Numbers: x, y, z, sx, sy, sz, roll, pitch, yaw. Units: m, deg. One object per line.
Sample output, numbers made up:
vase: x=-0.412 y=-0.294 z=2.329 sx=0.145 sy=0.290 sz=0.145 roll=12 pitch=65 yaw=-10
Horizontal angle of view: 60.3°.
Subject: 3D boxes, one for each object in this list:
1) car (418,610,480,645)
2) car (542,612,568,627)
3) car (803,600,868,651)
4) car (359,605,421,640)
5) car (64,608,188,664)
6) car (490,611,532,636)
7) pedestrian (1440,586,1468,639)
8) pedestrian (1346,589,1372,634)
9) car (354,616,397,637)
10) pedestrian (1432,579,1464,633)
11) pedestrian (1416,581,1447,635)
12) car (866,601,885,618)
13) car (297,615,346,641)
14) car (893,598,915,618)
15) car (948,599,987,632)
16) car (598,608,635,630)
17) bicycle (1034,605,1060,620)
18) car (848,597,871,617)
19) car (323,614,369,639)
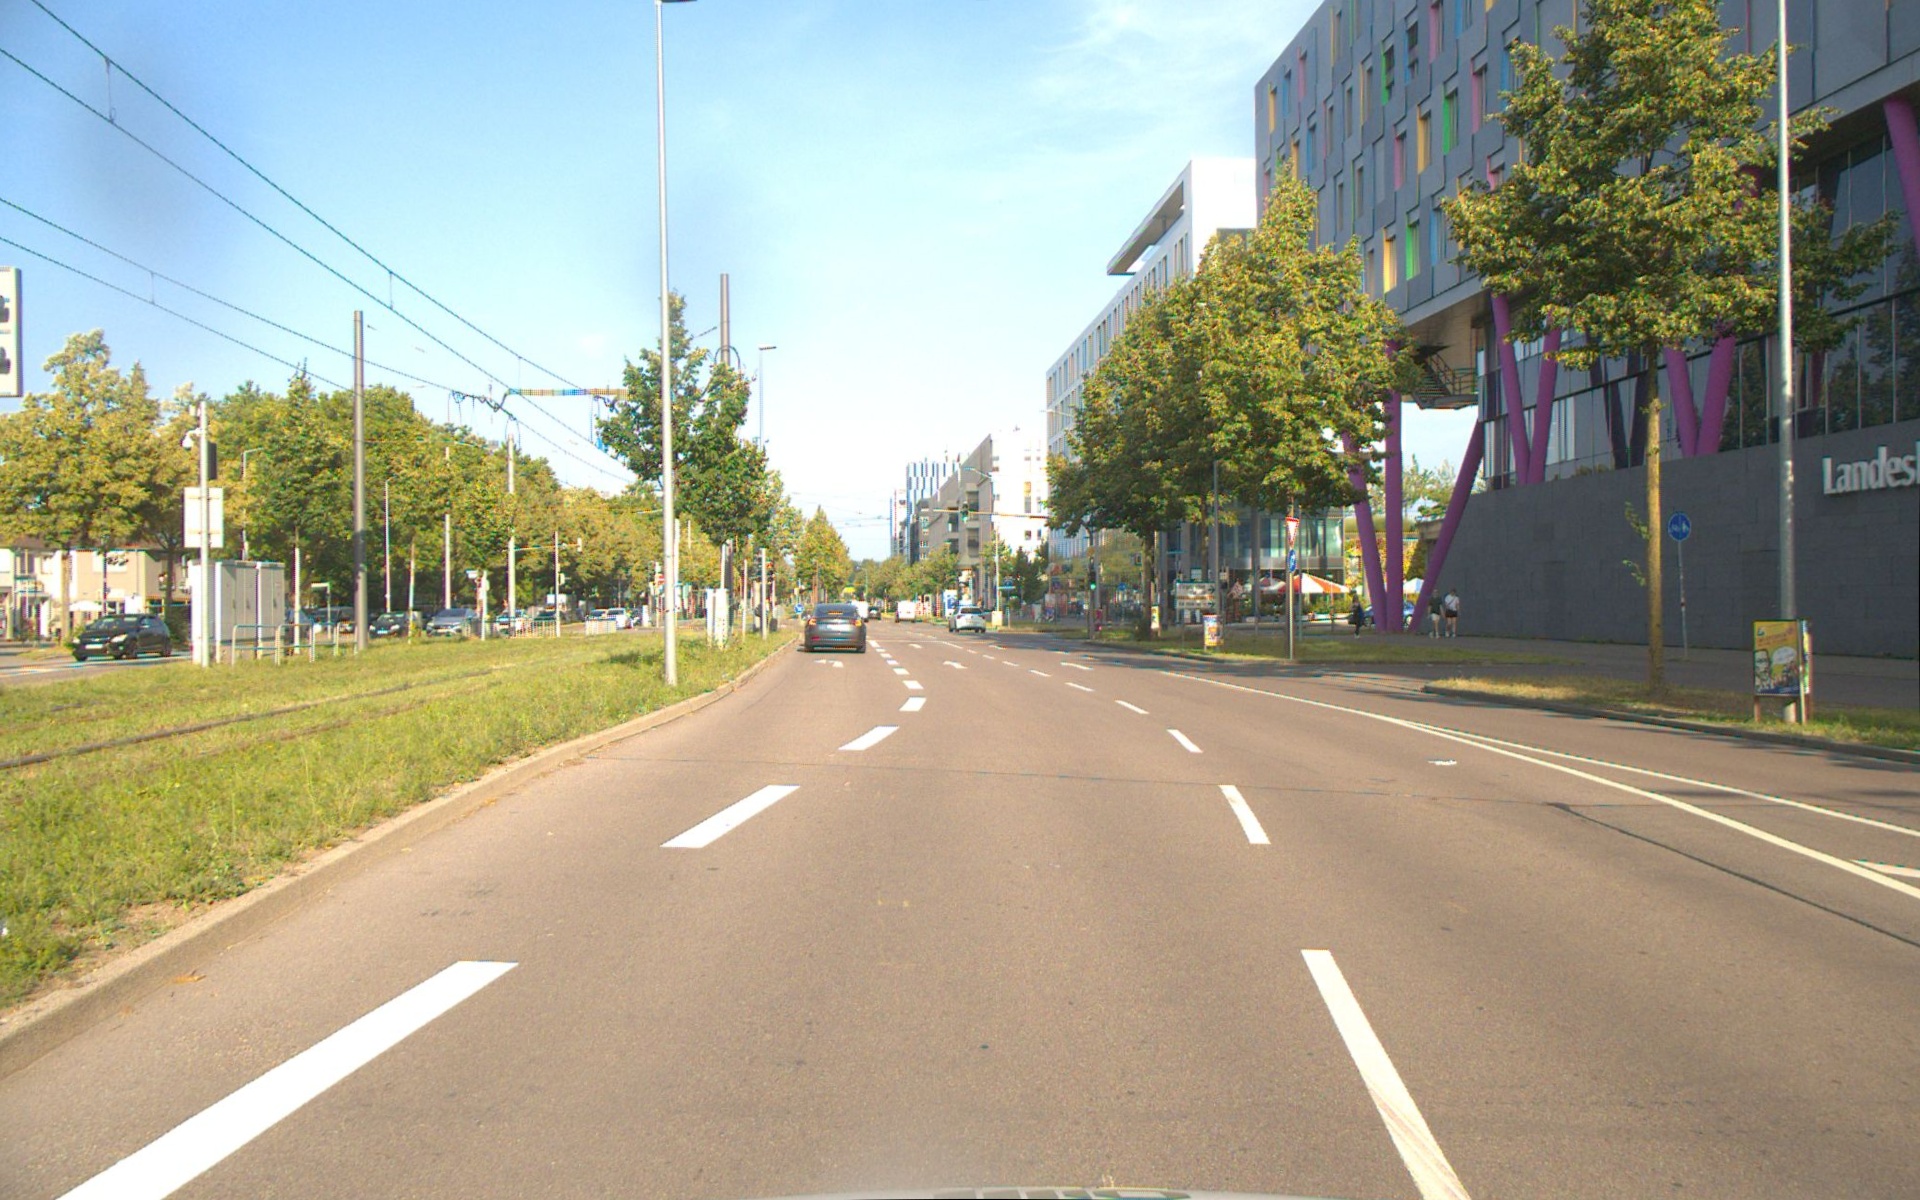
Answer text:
car: x=-25.947 y=1.355 z=84.138 sx=1.955 sy=1.554 sz=4.907 roll=-4 pitch=1 yaw=-5
car: x=-44.864 y=2.146 z=183.303 sx=1.842 sy=1.587 sz=4.000 roll=-1 pitch=-1 yaw=1
car: x=-3.763 y=0.742 z=49.871 sx=1.853 sy=1.410 sz=4.330 roll=1 pitch=0 yaw=-5
car: x=-29.466 y=1.156 z=85.662 sx=1.954 sy=1.717 sz=4.612 roll=-1 pitch=0 yaw=-5
car: x=-27.002 y=1.128 z=53.739 sx=1.954 sy=1.717 sz=4.721 roll=-1 pitch=0 yaw=-5
car: x=-30.065 y=1.570 z=110.917 sx=1.868 sy=1.554 sz=4.438 roll=-1 pitch=0 yaw=-4
pedestrian: x=17.411 y=0.427 z=58.266 sx=0.643 sy=1.825 sz=0.785 roll=-2 pitch=0 yaw=-5
pedestrian: x=15.162 y=0.453 z=62.832 sx=0.680 sy=1.667 sz=0.736 roll=-2 pitch=0 yaw=-5
car: x=-45.262 y=2.052 z=128.171 sx=1.842 sy=1.587 sz=4.000 roll=-1 pitch=-1 yaw=1
pedestrian: x=17.224 y=0.219 z=58.331 sx=0.753 sy=1.857 sz=0.852 roll=-2 pitch=0 yaw=-5
pedestrian: x=16.599 y=0.278 z=58.220 sx=0.739 sy=1.825 sz=0.843 roll=-3 pitch=0 yaw=-5
car: x=-8.820 y=0.971 z=171.525 sx=1.886 sy=1.713 sz=3.997 roll=1 pitch=0 yaw=-4
car: x=-45.296 y=1.947 z=117.331 sx=1.842 sy=1.780 sz=4.000 roll=-1 pitch=-1 yaw=1
car: x=-5.050 y=0.706 z=149.502 sx=1.827 sy=1.713 sz=3.997 roll=1 pitch=0 yaw=-4
car: x=0.403 y=0.831 z=91.292 sx=1.827 sy=1.713 sz=3.997 roll=1 pitch=0 yaw=-4
car: x=-24.309 y=1.339 z=117.294 sx=1.954 sy=1.530 sz=4.090 roll=-1 pitch=0 yaw=-3
bicycle: x=6.252 y=0.874 z=119.062 sx=1.845 sy=1.050 sz=0.769 roll=0 pitch=0 yaw=43
car: x=-8.982 y=0.610 z=148.073 sx=1.975 sy=1.713 sz=3.997 roll=1 pitch=0 yaw=-4
car: x=-45.294 y=1.950 z=122.101 sx=1.842 sy=1.780 sz=4.000 roll=-1 pitch=-1 yaw=1
